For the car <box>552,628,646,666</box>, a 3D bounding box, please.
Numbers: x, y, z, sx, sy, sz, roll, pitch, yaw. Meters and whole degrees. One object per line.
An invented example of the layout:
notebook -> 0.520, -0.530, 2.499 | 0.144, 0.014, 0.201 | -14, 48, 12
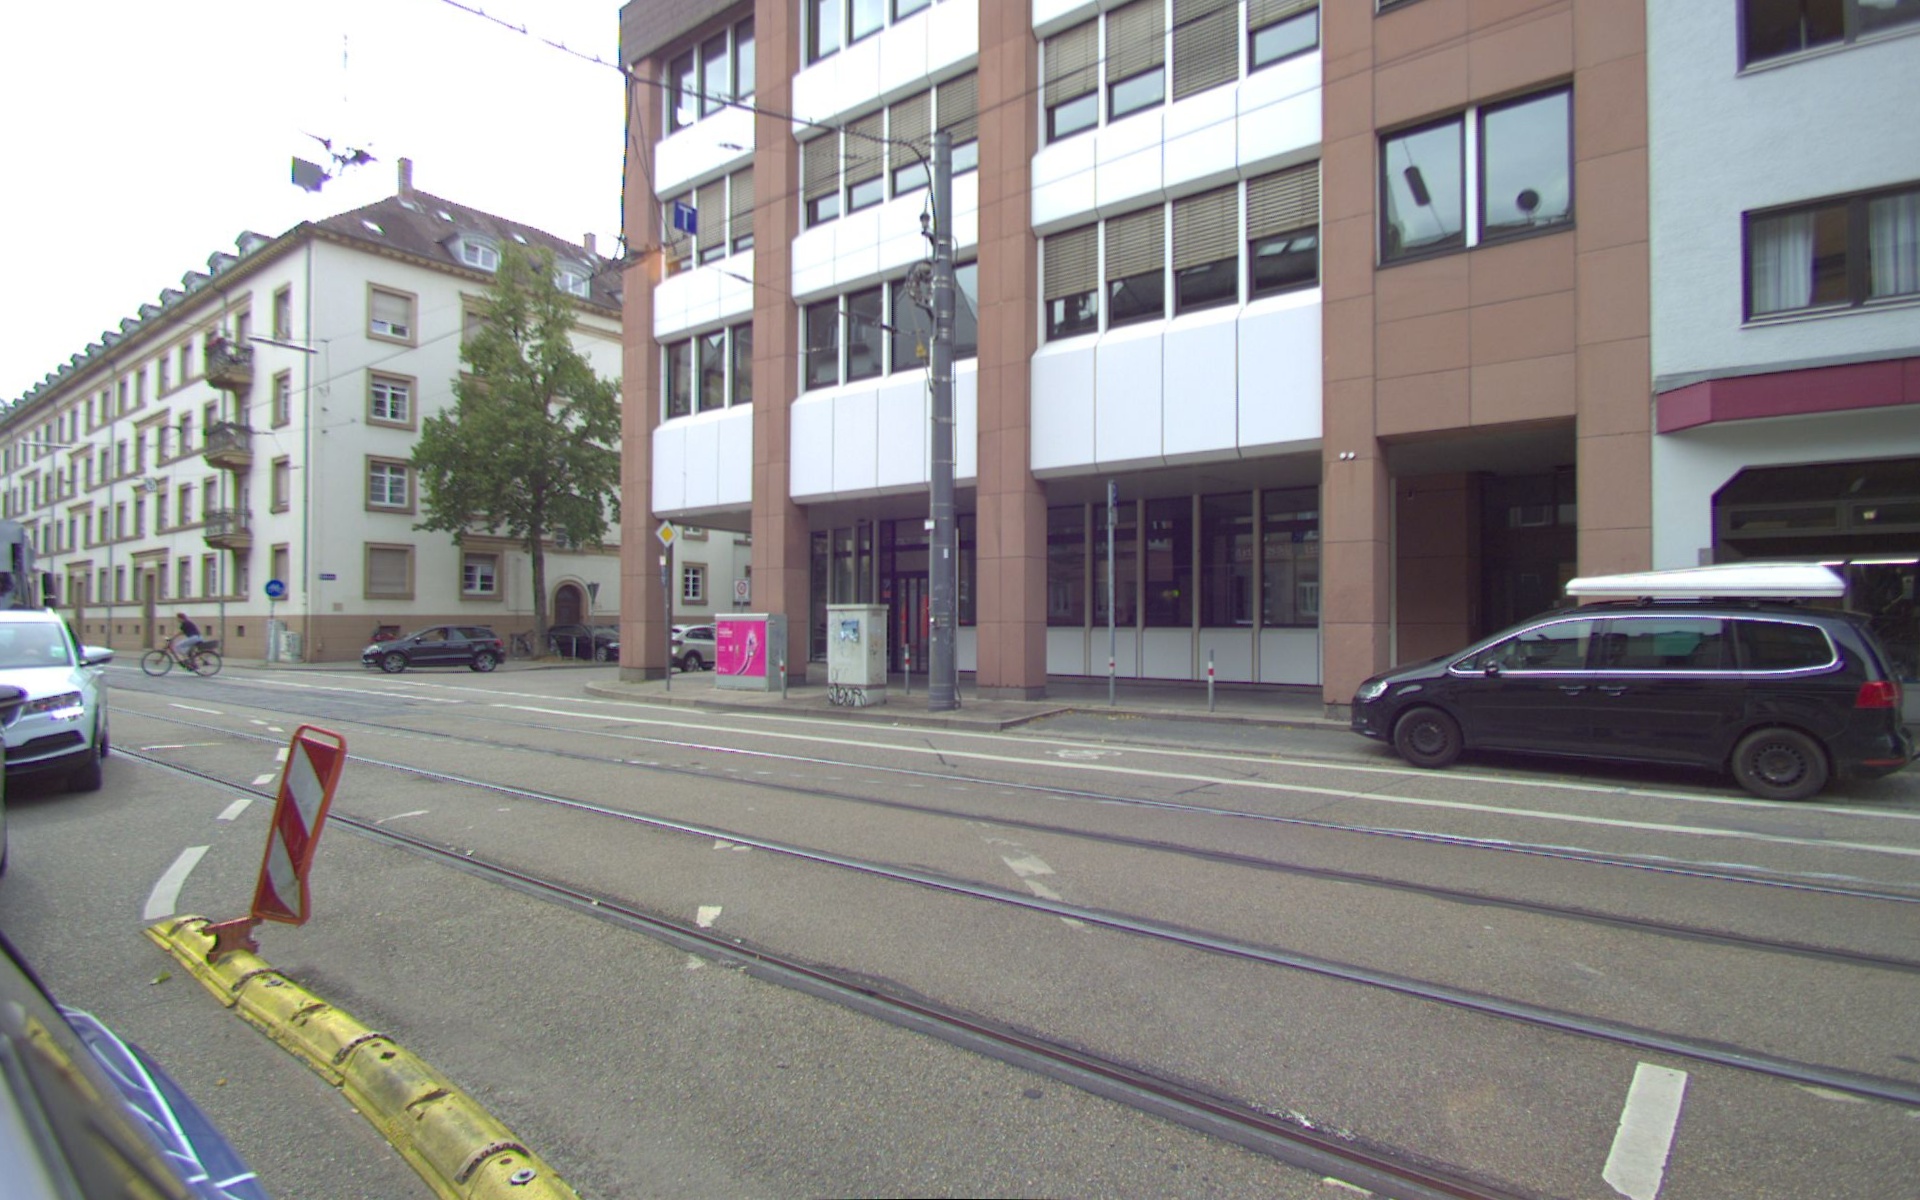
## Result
car -> -13.806, 1.766, 38.627 | 3.869, 1.407, 1.591 | -1, -2, 38

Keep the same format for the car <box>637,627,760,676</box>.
car -> -7.948, 1.537, 31.034 | 1.606, 1.399, 3.611 | -1, -2, 31

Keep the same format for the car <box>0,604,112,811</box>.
car -> -9.138, 0.888, 9.276 | 1.748, 1.603, 4.284 | -1, -1, -45

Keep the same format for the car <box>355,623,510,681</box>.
car -> -16.011, 1.524, 30.780 | 3.981, 1.549, 1.779 | -1, -1, -34

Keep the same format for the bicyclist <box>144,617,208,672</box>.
bicyclist -> -21.419, 1.202, 27.666 | 1.238, 1.473, 0.679 | 0, -3, -24

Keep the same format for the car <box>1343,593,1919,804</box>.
car -> 6.559, 0.834, 10.224 | 4.694, 1.659, 1.789 | -2, 0, 40

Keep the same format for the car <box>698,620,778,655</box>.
car -> -9.851, 1.645, 44.773 | 3.520, 1.473, 1.572 | -1, -2, 38

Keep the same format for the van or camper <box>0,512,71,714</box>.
van or camper -> -20.328, 0.316, 20.000 | 9.642, 3.447, 2.575 | -2, -2, 39

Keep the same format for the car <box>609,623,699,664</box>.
car -> -12.257, 1.702, 40.424 | 3.711, 1.559, 1.591 | -1, -2, 38

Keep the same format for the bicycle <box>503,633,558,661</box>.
bicycle -> -17.550, 1.912, 41.399 | 0.792, 1.094, 1.900 | -2, -2, 39

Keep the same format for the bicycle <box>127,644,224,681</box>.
bicycle -> -21.398, 1.698, 27.656 | 1.977, 0.972, 0.675 | 0, -3, -24

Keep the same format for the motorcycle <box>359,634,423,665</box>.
motorcycle -> -20.856, 1.795, 37.119 | 0.792, 1.094, 1.900 | -2, -2, 39
